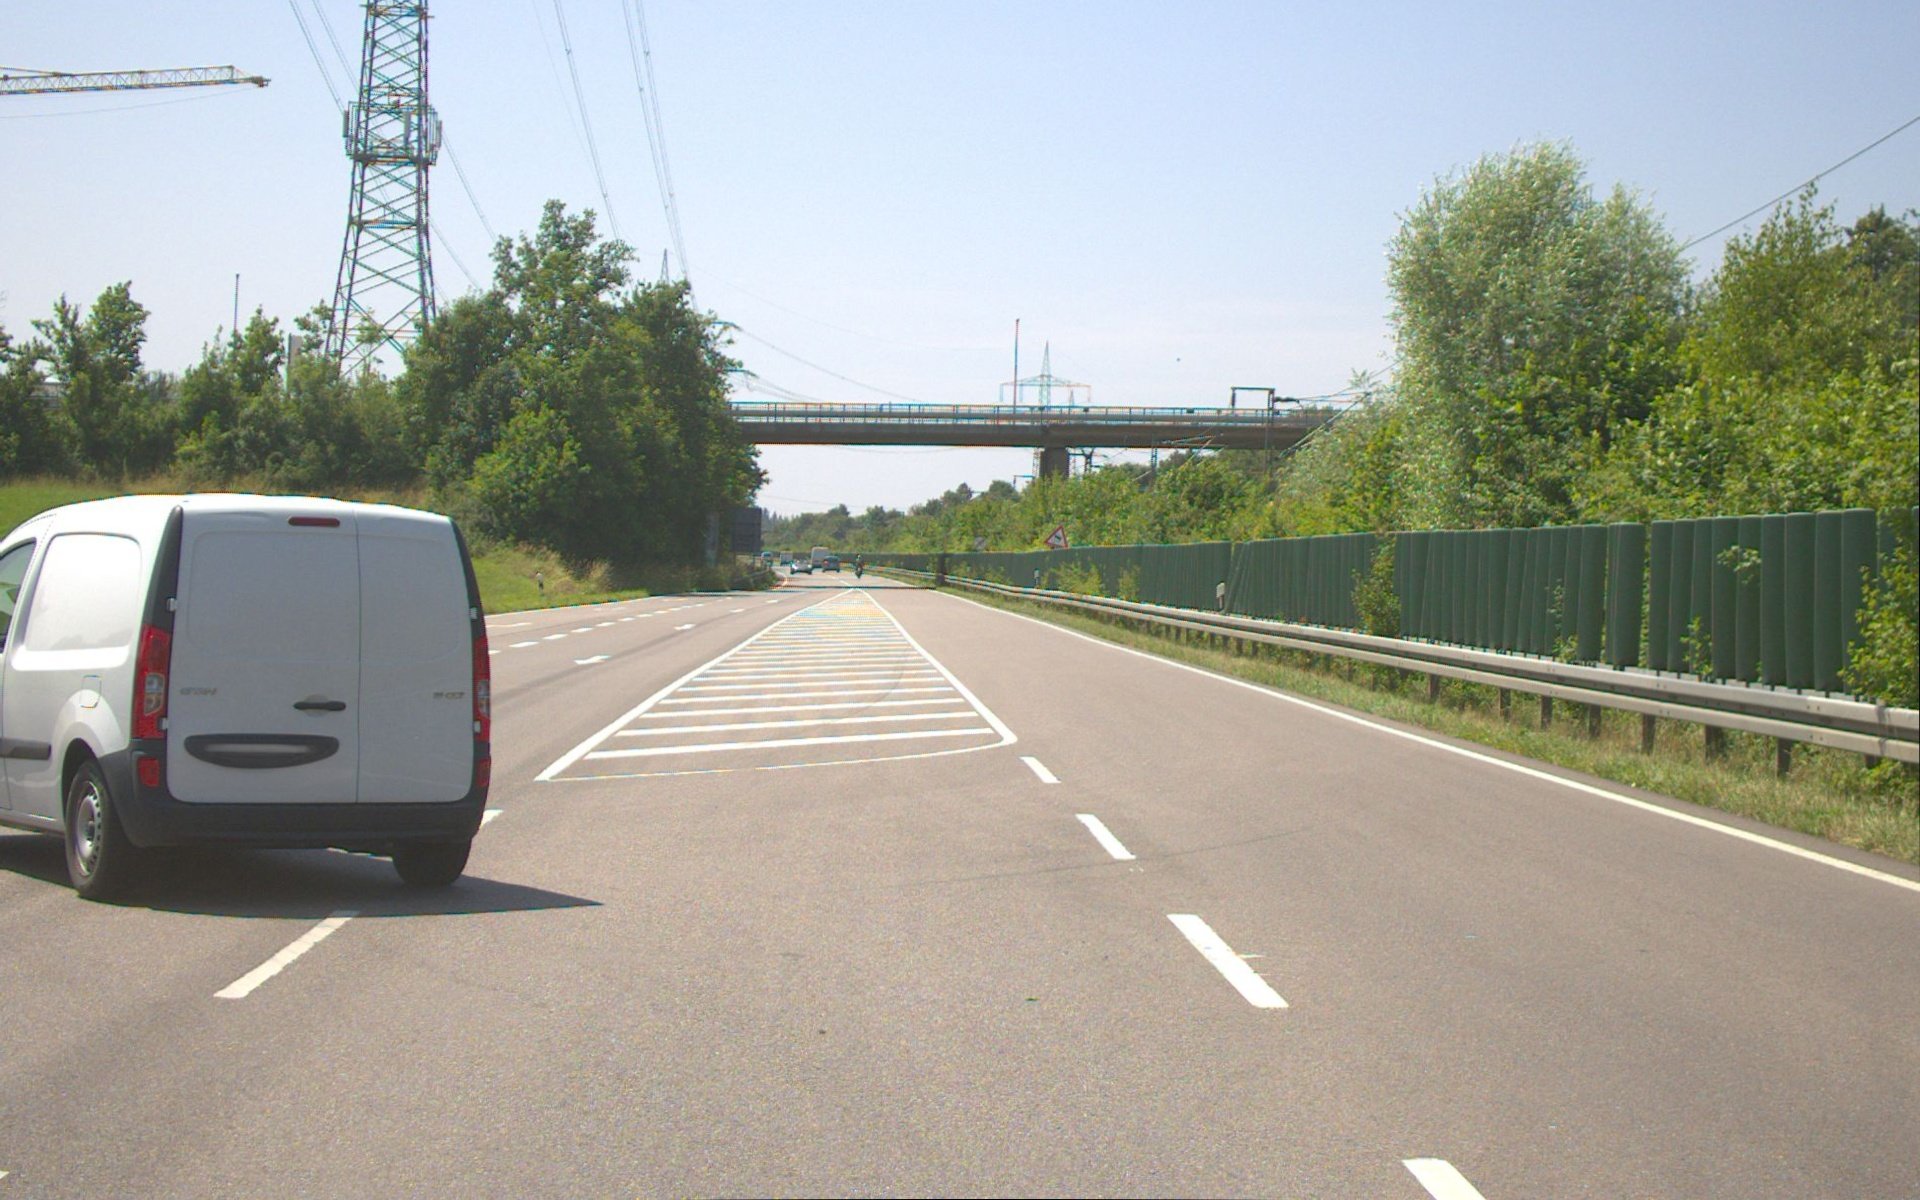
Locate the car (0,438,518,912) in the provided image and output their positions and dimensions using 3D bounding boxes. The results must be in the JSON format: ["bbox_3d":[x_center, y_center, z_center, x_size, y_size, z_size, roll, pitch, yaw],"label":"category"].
[{"bbox_3d":[-3.773,0.278,16.440,1.827,1.964,4.000,0,1,-31],"label":"car"}]
